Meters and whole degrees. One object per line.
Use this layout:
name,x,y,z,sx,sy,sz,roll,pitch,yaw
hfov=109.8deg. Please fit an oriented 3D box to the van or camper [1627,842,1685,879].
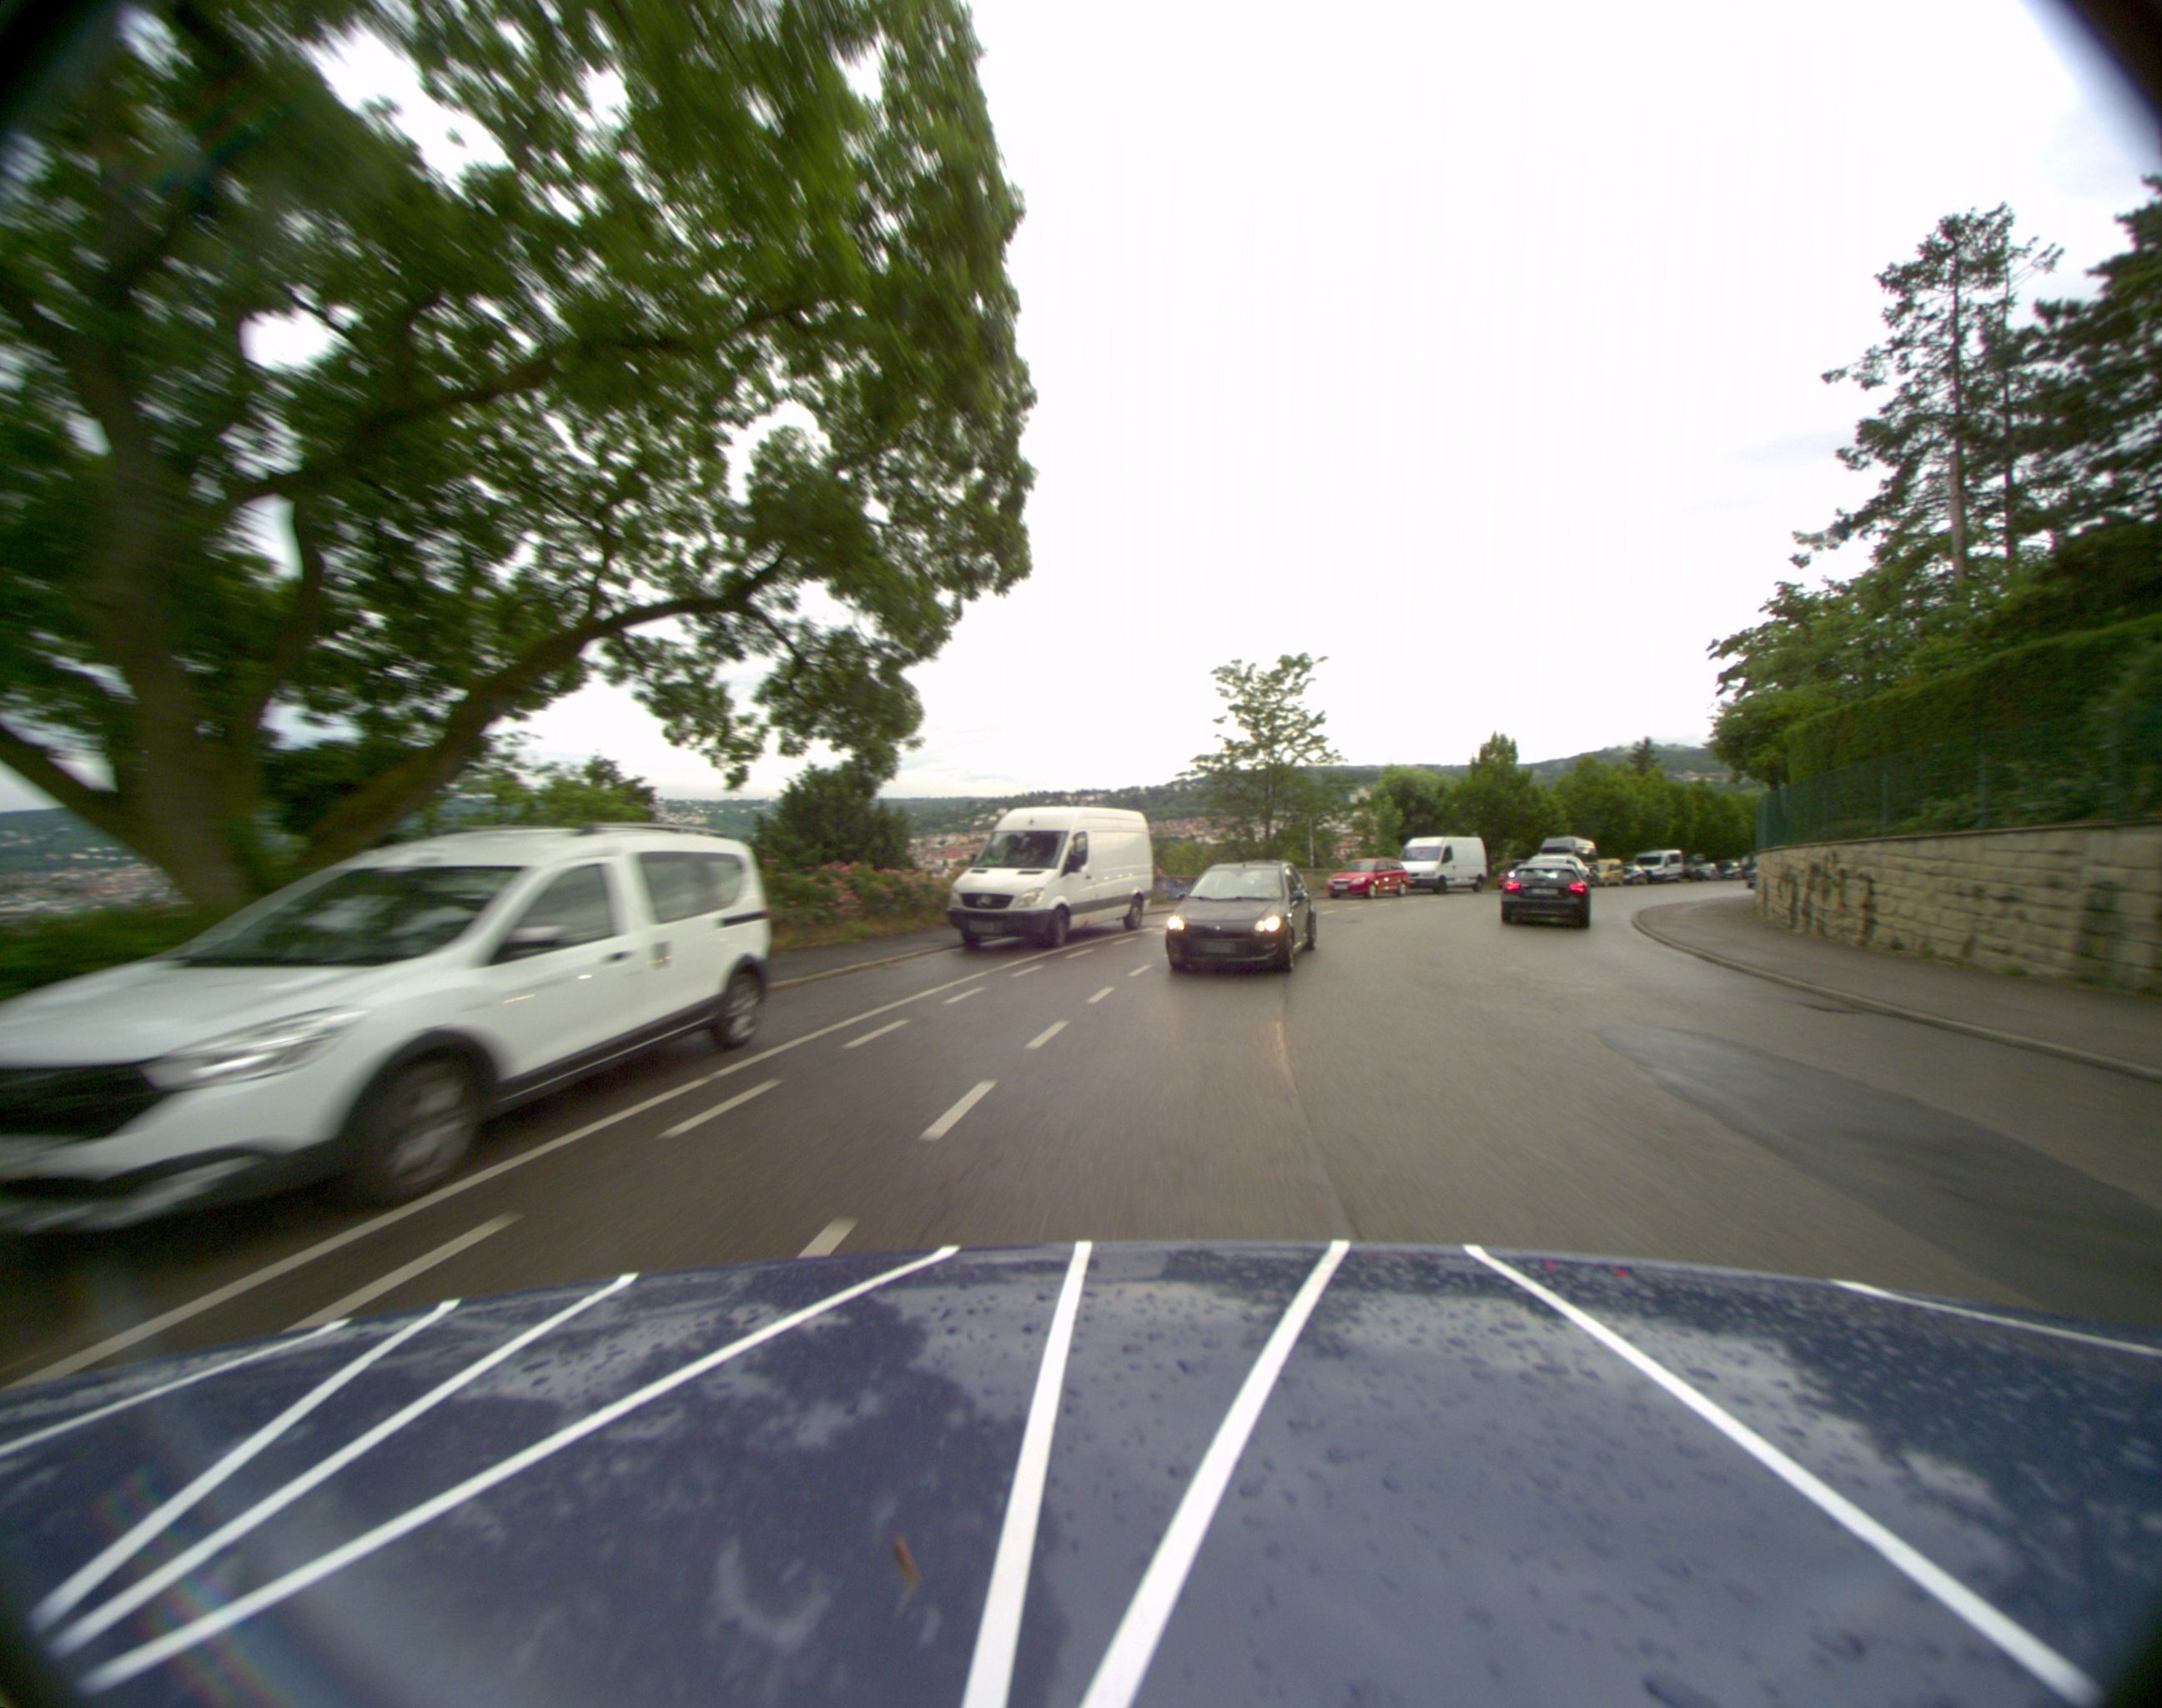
van or camper,42.179,0.509,55.649,5.627,2.539,2.166,0,-2,-40

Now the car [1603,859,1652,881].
car,37.043,1.080,51.453,4.412,1.366,1.722,1,-2,-41

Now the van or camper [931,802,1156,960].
van or camper,-0.428,0.428,15.370,2.068,2.565,5.898,1,0,24

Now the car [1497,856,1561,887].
car,23.329,0.868,39.505,3.841,1.531,1.683,0,-1,-40

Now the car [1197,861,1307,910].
car,5.505,0.957,24.175,1.696,1.435,3.956,-2,-2,41

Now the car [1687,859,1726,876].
car,54.348,1.151,65.978,4.334,1.426,1.722,0,-2,-39

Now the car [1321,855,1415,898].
car,11.075,0.826,29.178,4.224,1.531,1.621,0,-1,-42

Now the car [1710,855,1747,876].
car,58.601,1.011,68.757,4.412,1.843,1.722,0,-2,-39

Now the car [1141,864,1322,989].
car,2.511,0.922,11.651,1.780,1.477,4.413,0,0,24

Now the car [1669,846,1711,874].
car,48.711,0.519,60.750,4.412,2.125,1.722,0,-2,-39

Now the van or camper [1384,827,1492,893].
van or camper,15.572,0.272,32.962,5.607,2.645,2.075,0,-1,-40

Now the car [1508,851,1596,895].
car,20.310,0.748,32.657,2.186,1.698,4.892,0,0,45

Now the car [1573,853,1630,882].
car,32.666,0.845,47.615,4.412,1.738,1.722,0,-2,-39

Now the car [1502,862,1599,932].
car,11.396,0.938,18.439,1.788,1.426,4.123,1,0,33

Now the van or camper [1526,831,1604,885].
van or camper,27.652,0.231,43.314,5.739,2.892,2.125,0,-1,-40

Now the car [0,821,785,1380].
car,-3.763,0.806,4.735,1.750,1.810,4.425,0,0,5
